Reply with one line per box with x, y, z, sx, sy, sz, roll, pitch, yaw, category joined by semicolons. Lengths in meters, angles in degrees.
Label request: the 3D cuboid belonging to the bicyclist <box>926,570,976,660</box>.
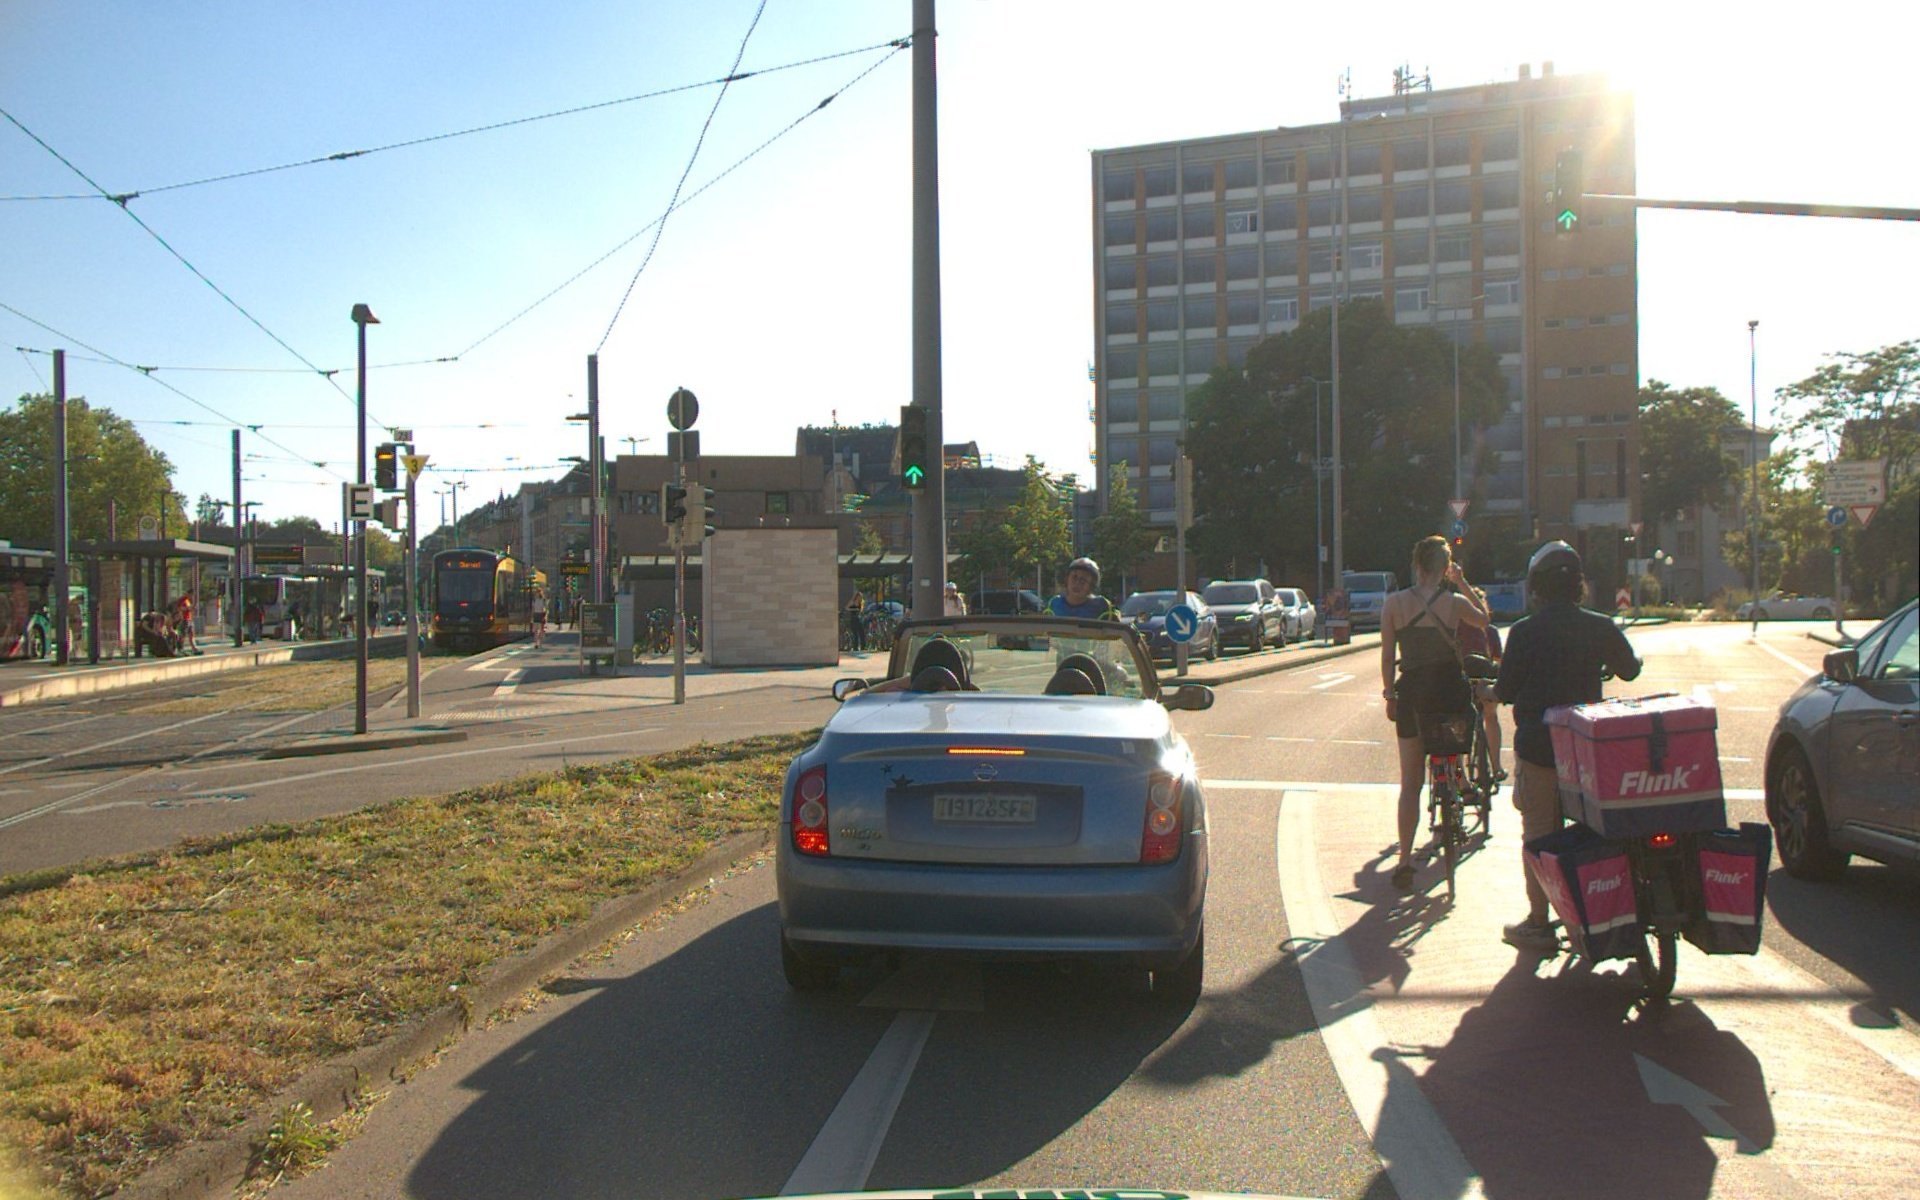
-0.164;0.281;31.316;0.694;1.686;0.743;-1;0;21;bicyclist

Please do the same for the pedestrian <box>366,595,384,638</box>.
-24.640;0.691;69.615;0.630;1.779;0.567;-1;0;-27;pedestrian

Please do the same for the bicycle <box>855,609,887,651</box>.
-2.558;0.844;47.144;0.596;1.134;1.890;1;0;-13;bicycle

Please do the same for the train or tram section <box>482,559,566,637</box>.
-22.043;-0.068;84.262;2.984;3.659;12.024;1;0;-10;train or tram section

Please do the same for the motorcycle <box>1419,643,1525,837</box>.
3.438;0.874;11.181;0.600;1.117;2.361;1;0;16;motorcycle

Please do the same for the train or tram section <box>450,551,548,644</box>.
-19.978;-0.082;72.367;2.957;3.659;12.169;1;0;-10;train or tram section

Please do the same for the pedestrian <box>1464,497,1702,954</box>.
2.763;0.522;7.431;0.789;1.901;0.957;1;-1;8;pedestrian

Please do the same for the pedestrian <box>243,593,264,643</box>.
-25.329;0.630;59.267;0.630;1.779;0.567;-1;0;-27;pedestrian

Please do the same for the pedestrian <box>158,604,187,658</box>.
-20.251;0.803;42.554;0.561;1.369;0.637;-1;0;-17;pedestrian

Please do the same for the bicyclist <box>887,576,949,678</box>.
-0.713;0.450;28.339;0.694;1.686;0.901;-3;-1;21;bicyclist

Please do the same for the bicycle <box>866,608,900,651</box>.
-2.109;0.783;45.219;0.596;1.134;1.890;1;0;-13;bicycle

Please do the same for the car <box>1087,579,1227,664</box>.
4.073;0.425;33.689;1.702;1.601;3.921;1;0;25;car

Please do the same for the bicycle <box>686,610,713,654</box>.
-6.988;0.845;44.281;0.596;1.134;1.890;1;0;-13;bicycle

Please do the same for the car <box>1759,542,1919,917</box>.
5.286;0.607;7.404;1.792;1.719;4.372;1;0;8;car

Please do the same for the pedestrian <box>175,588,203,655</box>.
-20.705;0.582;44.412;0.561;1.779;0.637;-1;0;-17;pedestrian

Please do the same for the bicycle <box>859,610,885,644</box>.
-3.019;0.911;56.689;0.596;1.134;1.890;1;0;-13;bicycle

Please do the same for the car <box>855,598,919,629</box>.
-3.912;0.740;88.411;1.629;1.588;3.549;-1;0;-39;car

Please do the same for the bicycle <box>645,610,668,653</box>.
-8.423;0.861;45.853;0.596;1.134;1.891;1;0;-11;bicycle

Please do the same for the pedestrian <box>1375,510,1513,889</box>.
2.560;0.500;8.815;0.645;1.901;0.873;1;-1;14;pedestrian

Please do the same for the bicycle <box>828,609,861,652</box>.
-3.161;0.824;45.062;0.596;1.134;1.890;1;0;-13;bicycle

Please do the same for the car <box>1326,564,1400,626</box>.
13.950;-0.188;57.071;1.869;1.979;4.707;-3;-1;21;car

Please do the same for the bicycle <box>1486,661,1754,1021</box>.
2.728;0.900;7.078;0.542;1.192;2.374;1;0;9;bicycle

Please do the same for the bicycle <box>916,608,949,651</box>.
-0.763;0.807;45.536;0.595;1.134;1.892;1;0;-10;bicycle

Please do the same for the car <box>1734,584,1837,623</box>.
36.339;0.153;72.905;3.907;1.557;1.804;-2;0;24;car

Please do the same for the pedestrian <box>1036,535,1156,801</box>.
1.030;0.488;12.377;0.815;1.901;0.921;1;-1;8;pedestrian

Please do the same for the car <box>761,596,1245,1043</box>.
0.355;0.746;7.686;1.625;1.466;4.157;1;0;6;car

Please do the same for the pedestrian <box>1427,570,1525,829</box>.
3.430;0.632;11.025;0.575;1.626;1.025;1;-1;16;pedestrian

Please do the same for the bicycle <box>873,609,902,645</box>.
-2.336;0.867;53.194;0.596;1.134;1.890;1;0;-13;bicycle

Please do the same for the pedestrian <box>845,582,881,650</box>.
-2.727;0.449;46.604;0.885;1.901;0.685;1;-1;-13;pedestrian

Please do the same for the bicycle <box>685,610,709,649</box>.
-7.978;0.893;50.203;0.596;1.134;1.890;1;0;-13;bicycle

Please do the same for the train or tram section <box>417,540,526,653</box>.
-17.644;-0.105;60.413;2.831;3.659;12.161;1;0;-12;train or tram section

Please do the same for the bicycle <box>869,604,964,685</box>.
-0.716;0.738;28.295;0.660;1.272;2.457;-3;-1;21;bicycle

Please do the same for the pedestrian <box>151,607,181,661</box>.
-20.093;0.857;41.873;0.606;1.364;0.438;-1;0;-18;pedestrian

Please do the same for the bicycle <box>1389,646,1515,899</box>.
2.638;0.860;9.003;0.552;1.171;1.951;1;0;14;bicycle

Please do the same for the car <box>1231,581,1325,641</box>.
8.930;0.283;46.280;1.661;1.588;3.977;-1;0;25;car

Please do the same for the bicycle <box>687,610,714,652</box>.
-7.278;0.862;46.340;0.596;1.134;1.890;1;0;-13;bicycle

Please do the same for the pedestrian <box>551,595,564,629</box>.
-21.787;0.649;89.584;0.593;1.779;0.830;-1;0;-8;pedestrian

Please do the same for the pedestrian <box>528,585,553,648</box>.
-11.978;0.477;47.221;0.628;1.779;0.569;-1;0;-19;pedestrian

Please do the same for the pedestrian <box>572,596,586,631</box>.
-19.391;0.670;84.180;0.628;1.779;0.732;-1;0;-19;pedestrian

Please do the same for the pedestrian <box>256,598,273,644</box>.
-27.796;0.835;66.072;0.562;1.779;0.636;-1;0;-20;pedestrian

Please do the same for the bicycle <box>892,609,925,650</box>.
-1.494;0.831;47.548;0.596;1.134;1.890;1;0;-13;bicycle

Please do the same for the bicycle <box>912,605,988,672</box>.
-0.169;0.704;31.290;0.660;1.201;2.183;-1;0;21;bicycle

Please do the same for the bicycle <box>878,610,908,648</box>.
-2.087;0.886;51.226;0.596;1.134;1.890;1;0;-13;bicycle

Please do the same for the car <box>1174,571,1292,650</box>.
6.594;0.227;39.604;1.726;1.736;4.529;-2;-1;23;car

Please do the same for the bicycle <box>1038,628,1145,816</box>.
1.012;0.833;12.244;0.595;1.212;2.416;1;0;9;bicycle

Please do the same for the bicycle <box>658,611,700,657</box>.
-7.183;0.857;42.342;0.594;1.134;1.898;1;0;5;bicycle

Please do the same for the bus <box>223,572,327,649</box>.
-32.733;0.468;79.560;2.675;3.331;13.413;1;0;-14;bus

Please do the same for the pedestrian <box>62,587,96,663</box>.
-20.991;0.591;39.423;0.527;1.779;0.559;-1;0;-6;pedestrian

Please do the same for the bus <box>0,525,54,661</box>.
-23.560;-0.178;37.176;2.606;3.190;9.619;1;0;-10;bus

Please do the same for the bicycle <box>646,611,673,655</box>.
-7.991;0.860;43.935;0.596;1.134;1.890;1;0;-13;bicycle
